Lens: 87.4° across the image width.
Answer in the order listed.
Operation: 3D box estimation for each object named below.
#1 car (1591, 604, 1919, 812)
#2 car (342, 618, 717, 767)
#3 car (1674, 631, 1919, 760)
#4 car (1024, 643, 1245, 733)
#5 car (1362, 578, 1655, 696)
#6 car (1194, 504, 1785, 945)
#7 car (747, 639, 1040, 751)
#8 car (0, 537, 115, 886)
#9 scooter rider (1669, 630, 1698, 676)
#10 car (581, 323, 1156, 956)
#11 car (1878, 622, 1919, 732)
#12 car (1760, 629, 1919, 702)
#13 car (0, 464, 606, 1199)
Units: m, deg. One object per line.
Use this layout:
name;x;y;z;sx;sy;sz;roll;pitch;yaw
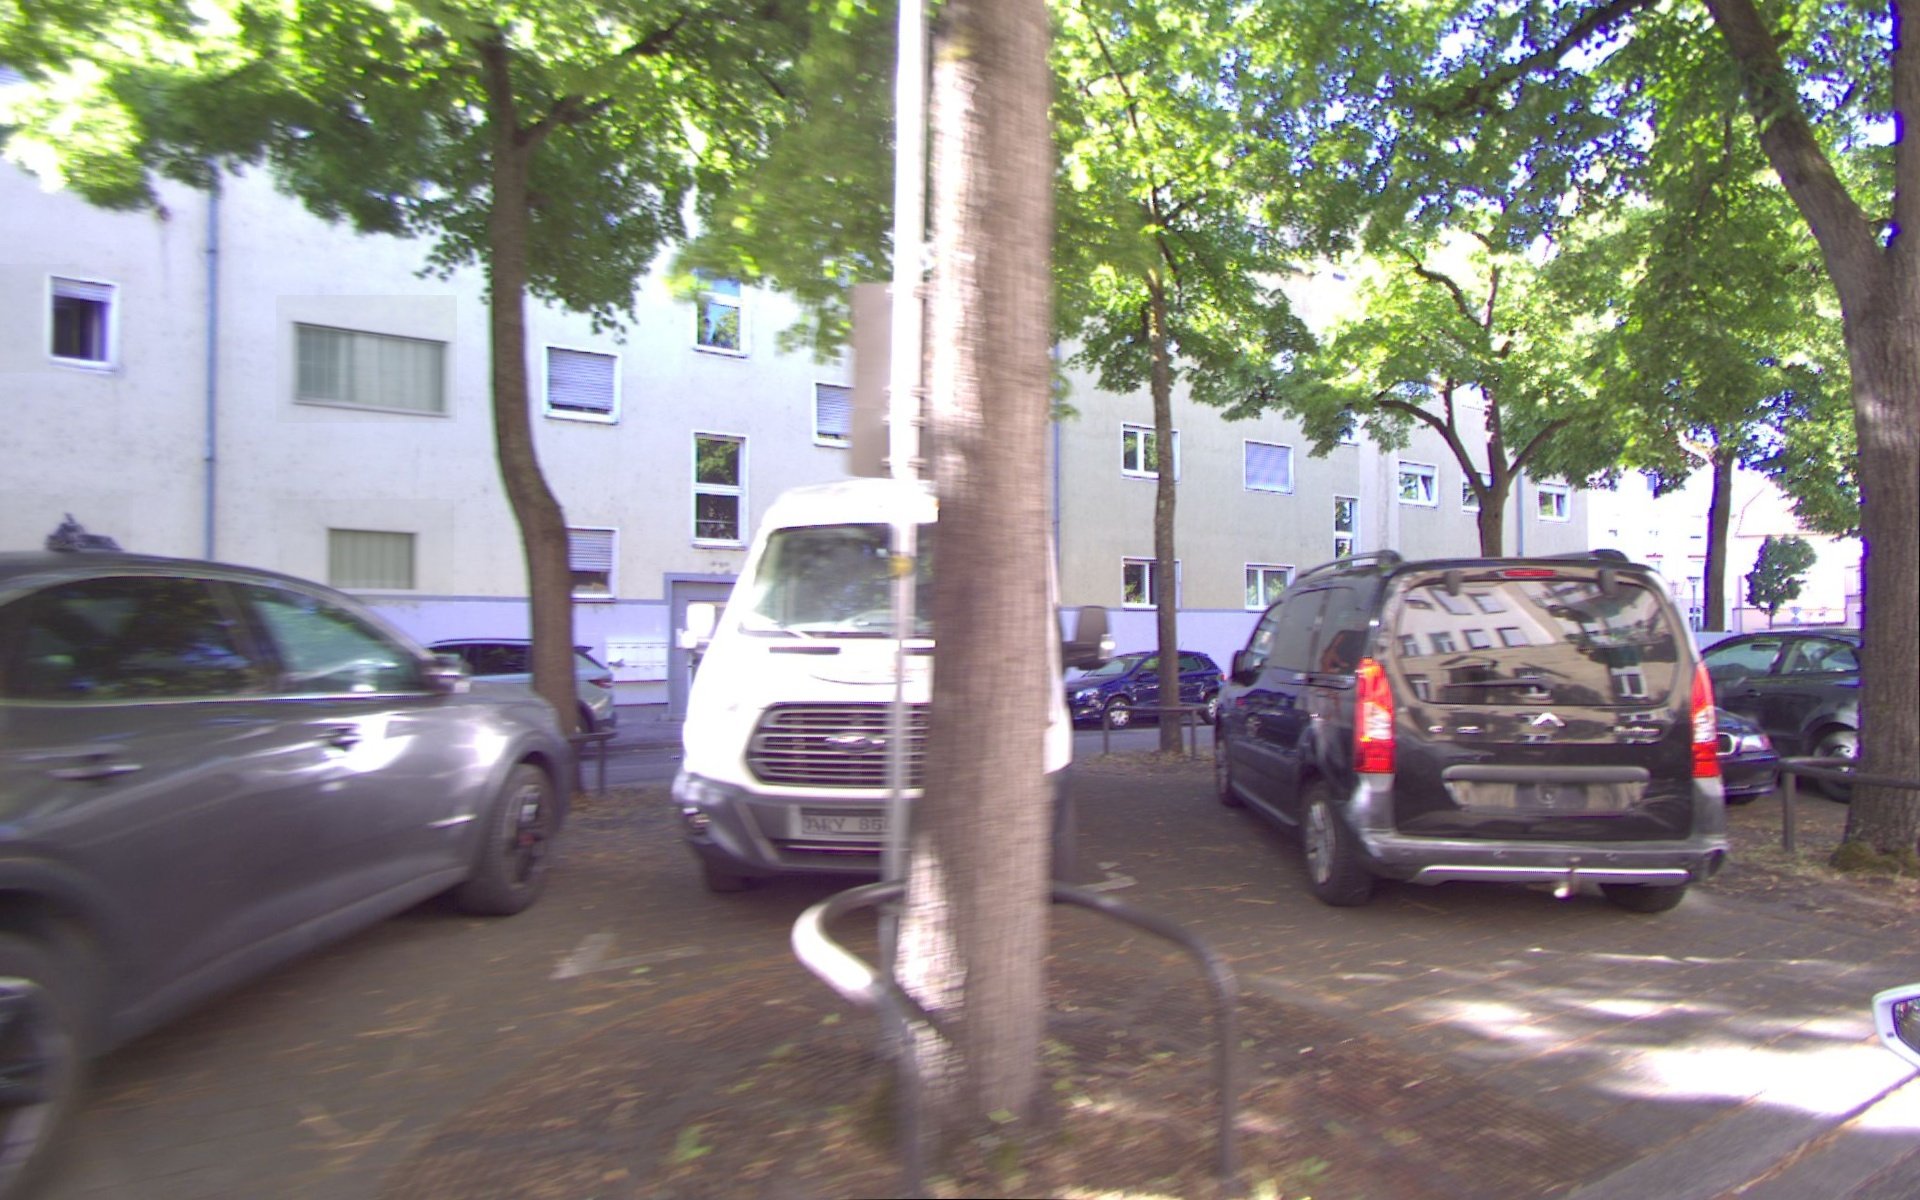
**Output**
car;8.026;0.891;9.621;1.604;1.602;3.738;0;-2;0
car;-5.801;1.159;13.770;4.507;1.745;1.732;1;-3;-32
car;11.011;1.084;12.567;1.625;1.264;3.568;0;0;0
car;3.396;1.613;19.329;4.100;1.514;1.763;1;-1;-33
car;8.355;0.472;15.804;1.800;1.575;4.146;1;1;-10
car;2.753;0.603;6.326;1.807;1.913;3.853;-1;-2;3
car;-1.045;1.461;16.578;4.538;1.537;1.763;1;0;-31
car;-5.827;0.509;3.640;1.862;1.800;4.394;1;-2;-2
scooter rider;24.744;1.817;34.356;0.595;1.549;0.526;-1;-2;8
car;-0.306;0.286;7.314;2.406;2.657;6.088;1;-3;1
car;13.684;1.029;12.185;1.829;1.485;4.105;1;-1;10
car;19.810;1.385;21.622;1.618;1.485;3.787;0;-3;-17
car;-2.903;0.530;3.508;1.622;1.663;4.277;1;-1;3
